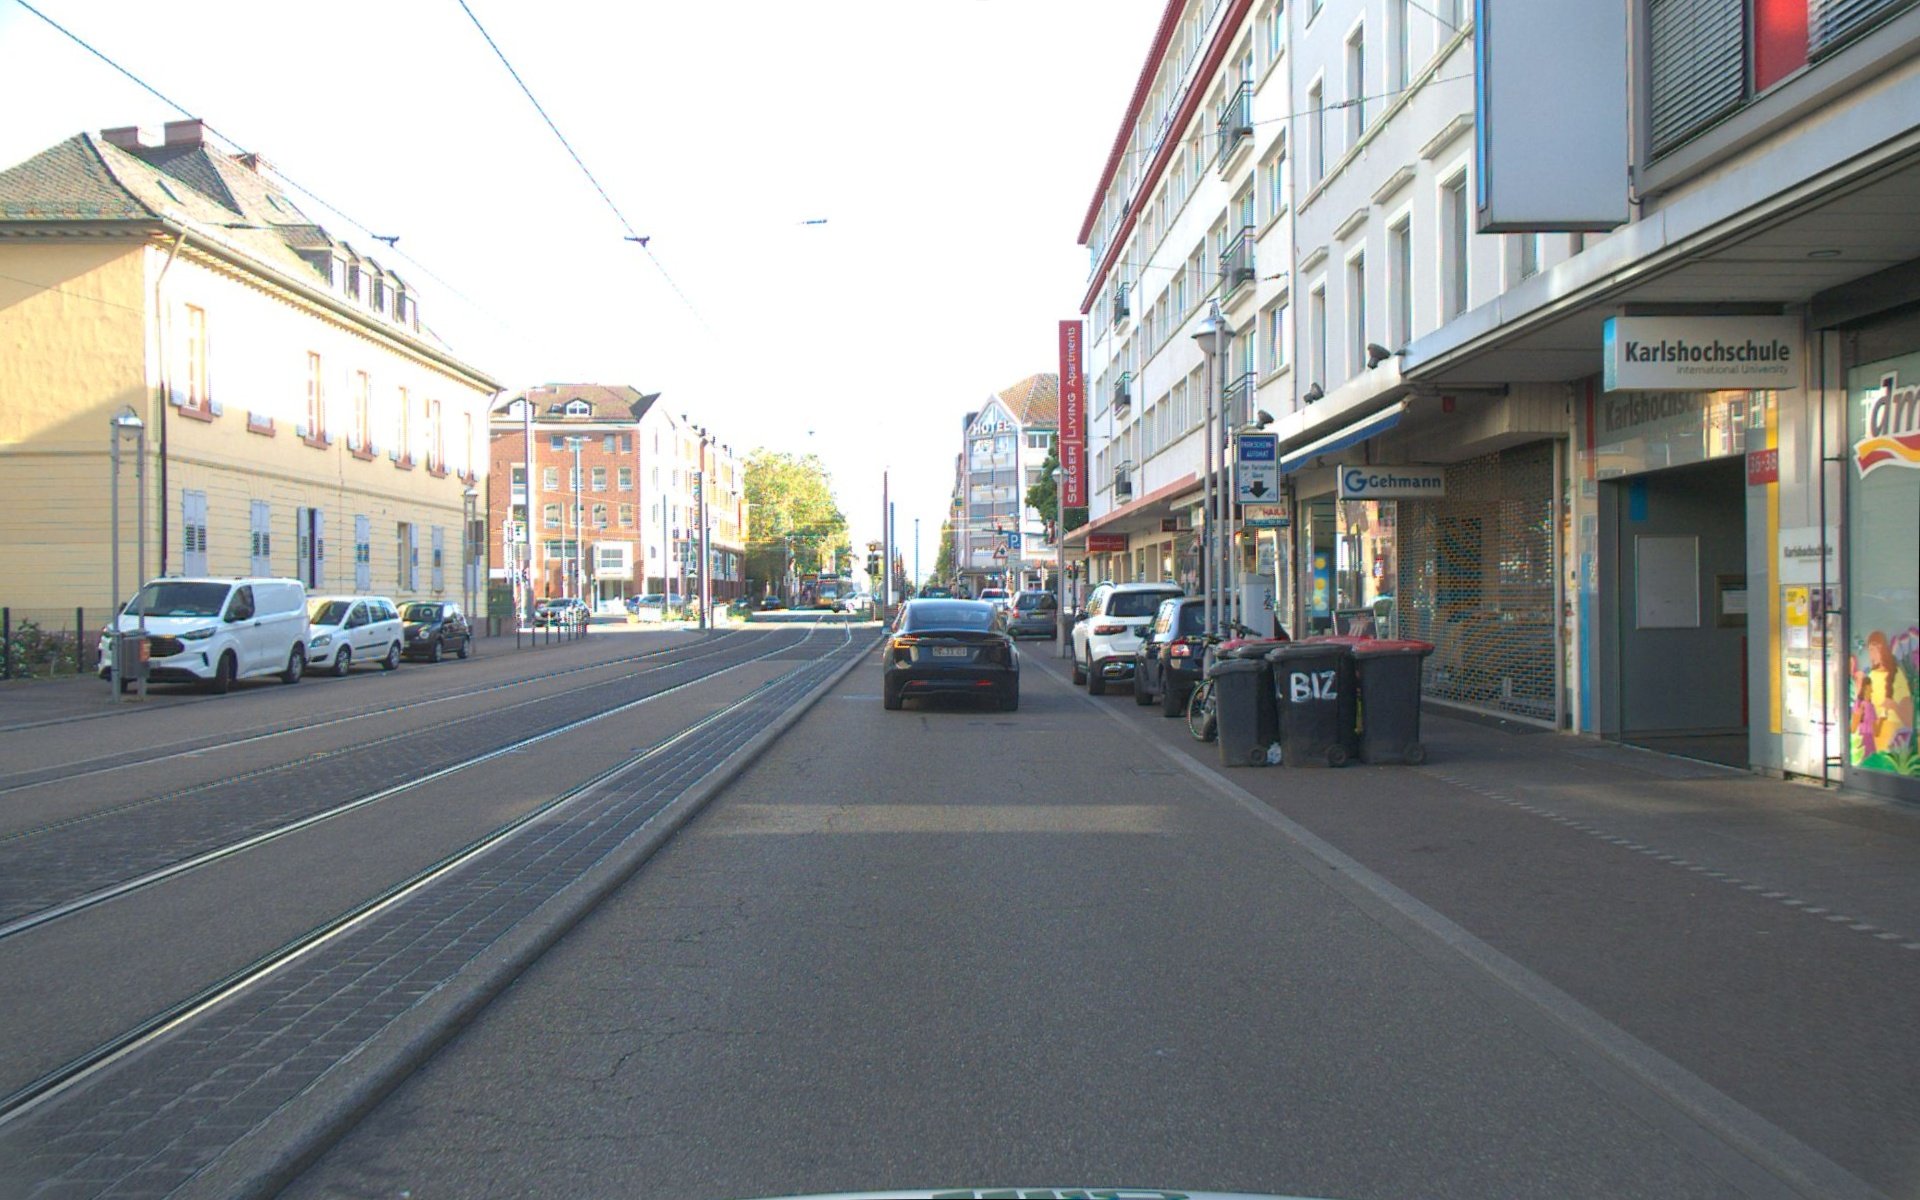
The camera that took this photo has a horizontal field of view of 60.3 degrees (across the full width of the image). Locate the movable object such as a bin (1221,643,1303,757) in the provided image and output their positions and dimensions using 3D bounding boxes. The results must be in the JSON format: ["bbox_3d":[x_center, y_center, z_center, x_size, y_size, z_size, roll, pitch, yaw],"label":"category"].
[{"bbox_3d":[2.827,0.931,15.521,0.672,1.032,0.508,-1,0,1],"label":"movable object such as a bin"}]

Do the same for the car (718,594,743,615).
[{"bbox_3d":[-22.764,0.439,164.373,1.953,2.049,3.999,1,0,-1],"label":"car"}]

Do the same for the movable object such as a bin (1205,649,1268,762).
[{"bbox_3d":[2.485,0.938,14.883,0.477,0.975,0.458,-2,0,2],"label":"movable object such as a bin"}]

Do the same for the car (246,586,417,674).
[{"bbox_3d":[-13.417,0.612,35.630,1.770,1.715,4.649,1,0,1],"label":"car"}]

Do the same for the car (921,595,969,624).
[{"bbox_3d":[-0.886,0.528,93.397,1.793,1.545,4.203,2,0,-13],"label":"car"}]

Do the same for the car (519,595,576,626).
[{"bbox_3d":[-21.194,0.527,85.184,1.864,1.489,4.000,1,0,1],"label":"car"}]

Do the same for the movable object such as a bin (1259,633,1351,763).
[{"bbox_3d":[3.068,0.860,14.760,0.676,1.108,0.686,-2,0,2],"label":"movable object such as a bin"}]

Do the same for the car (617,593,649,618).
[{"bbox_3d":[-21.417,0.365,108.216,1.848,1.522,4.913,-1,0,-13],"label":"car"}]

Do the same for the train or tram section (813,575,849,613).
[{"bbox_3d":[-13.472,-0.588,173.887,2.620,3.780,14.190,1,0,0],"label":"train or tram section"}]

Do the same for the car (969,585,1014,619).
[{"bbox_3d":[1.495,0.087,79.835,1.748,1.545,4.214,1,0,-4],"label":"car"}]

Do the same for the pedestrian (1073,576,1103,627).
[{"bbox_3d":[4.400,0.044,56.921,0.800,1.712,0.714,1,0,22],"label":"pedestrian"}]

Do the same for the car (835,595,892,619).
[{"bbox_3d":[-7.452,0.544,127.534,3.960,1.769,1.973,-1,0,-38],"label":"car"}]

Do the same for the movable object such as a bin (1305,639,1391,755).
[{"bbox_3d":[3.621,0.899,15.476,0.644,1.032,0.636,-1,0,1],"label":"movable object such as a bin"}]

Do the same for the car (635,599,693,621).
[{"bbox_3d":[-21.434,0.738,119.931,1.959,1.445,3.988,1,0,33],"label":"car"}]

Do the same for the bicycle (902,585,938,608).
[{"bbox_3d":[-2.006,-0.190,83.146,1.696,1.107,0.677,2,0,-9],"label":"bicycle"}]

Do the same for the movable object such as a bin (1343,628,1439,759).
[{"bbox_3d":[3.836,0.822,14.753,0.676,1.108,0.666,-2,0,2],"label":"movable object such as a bin"}]

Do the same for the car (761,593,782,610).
[{"bbox_3d":[-19.054,0.133,167.339,1.715,1.680,3.999,1,0,0],"label":"car"}]

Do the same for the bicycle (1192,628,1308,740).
[{"bbox_3d":[3.009,0.871,17.184,1.108,1.098,0.319,-2,0,-3],"label":"bicycle"}]

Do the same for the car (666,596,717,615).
[{"bbox_3d":[-21.713,0.440,133.686,3.927,1.495,1.989,1,0,41],"label":"car"}]

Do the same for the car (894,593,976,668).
[{"bbox_3d":[-0.512,0.606,35.231,1.620,1.443,4.000,1,1,0],"label":"car"}]

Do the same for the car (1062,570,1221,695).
[{"bbox_3d":[2.813,0.481,26.759,1.812,1.754,5.191,-2,0,-1],"label":"car"}]

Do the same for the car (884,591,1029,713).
[{"bbox_3d":[-0.105,0.661,22.758,1.812,1.510,3.785,1,0,-2],"label":"car"}]

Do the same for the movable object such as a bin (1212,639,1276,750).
[{"bbox_3d":[2.770,0.915,16.184,0.511,1.032,0.671,-1,0,1],"label":"movable object such as a bin"}]

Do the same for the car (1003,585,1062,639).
[{"bbox_3d":[2.373,0.377,54.558,1.709,1.660,3.648,-2,0,0],"label":"car"}]

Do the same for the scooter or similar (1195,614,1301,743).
[{"bbox_3d":[2.921,0.789,16.786,0.973,1.253,0.319,-2,0,-3],"label":"scooter or similar"}]

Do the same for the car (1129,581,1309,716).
[{"bbox_3d":[3.266,0.572,21.571,1.581,1.555,4.069,-1,0,-1],"label":"car"}]

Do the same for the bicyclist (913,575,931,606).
[{"bbox_3d":[-1.904,-0.488,83.200,0.821,1.526,0.559,1,0,-9],"label":"bicyclist"}]

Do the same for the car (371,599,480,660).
[{"bbox_3d":[-13.337,0.708,41.452,1.581,1.425,3.719,1,0,-1],"label":"car"}]

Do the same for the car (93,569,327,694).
[{"bbox_3d":[-13.325,0.525,29.795,1.953,2.009,5.095,1,0,-1],"label":"car"}]
